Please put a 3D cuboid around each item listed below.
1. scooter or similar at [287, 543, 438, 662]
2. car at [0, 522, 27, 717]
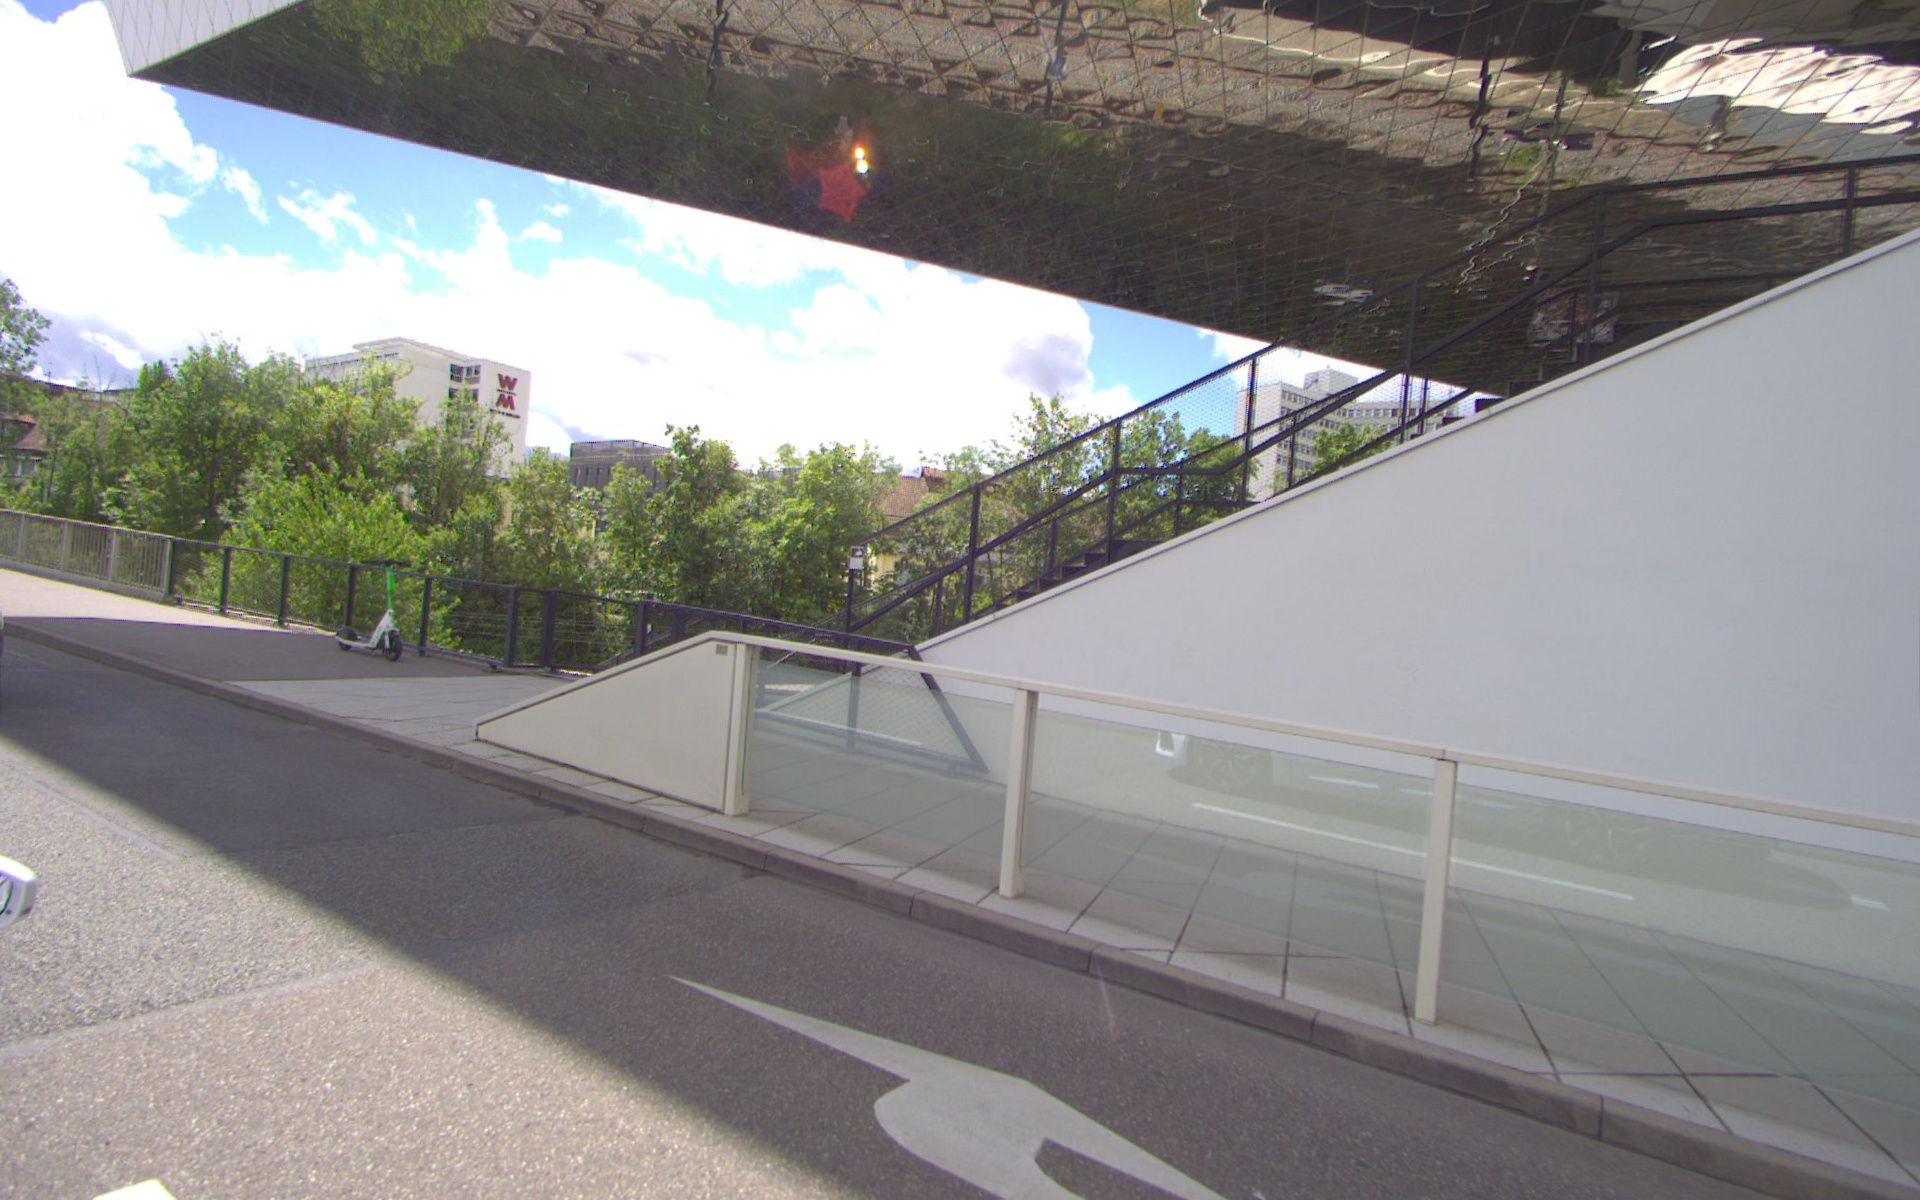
[{"bbox_3d":[-7.182,0.019,12.066,1.826,1.229,0.654,6,1,29],"label":"scooter or similar"},{"bbox_3d":[-8.468,-0.116,7.013,4.019,1.290,1.723,6,-1,30],"label":"car"}]
